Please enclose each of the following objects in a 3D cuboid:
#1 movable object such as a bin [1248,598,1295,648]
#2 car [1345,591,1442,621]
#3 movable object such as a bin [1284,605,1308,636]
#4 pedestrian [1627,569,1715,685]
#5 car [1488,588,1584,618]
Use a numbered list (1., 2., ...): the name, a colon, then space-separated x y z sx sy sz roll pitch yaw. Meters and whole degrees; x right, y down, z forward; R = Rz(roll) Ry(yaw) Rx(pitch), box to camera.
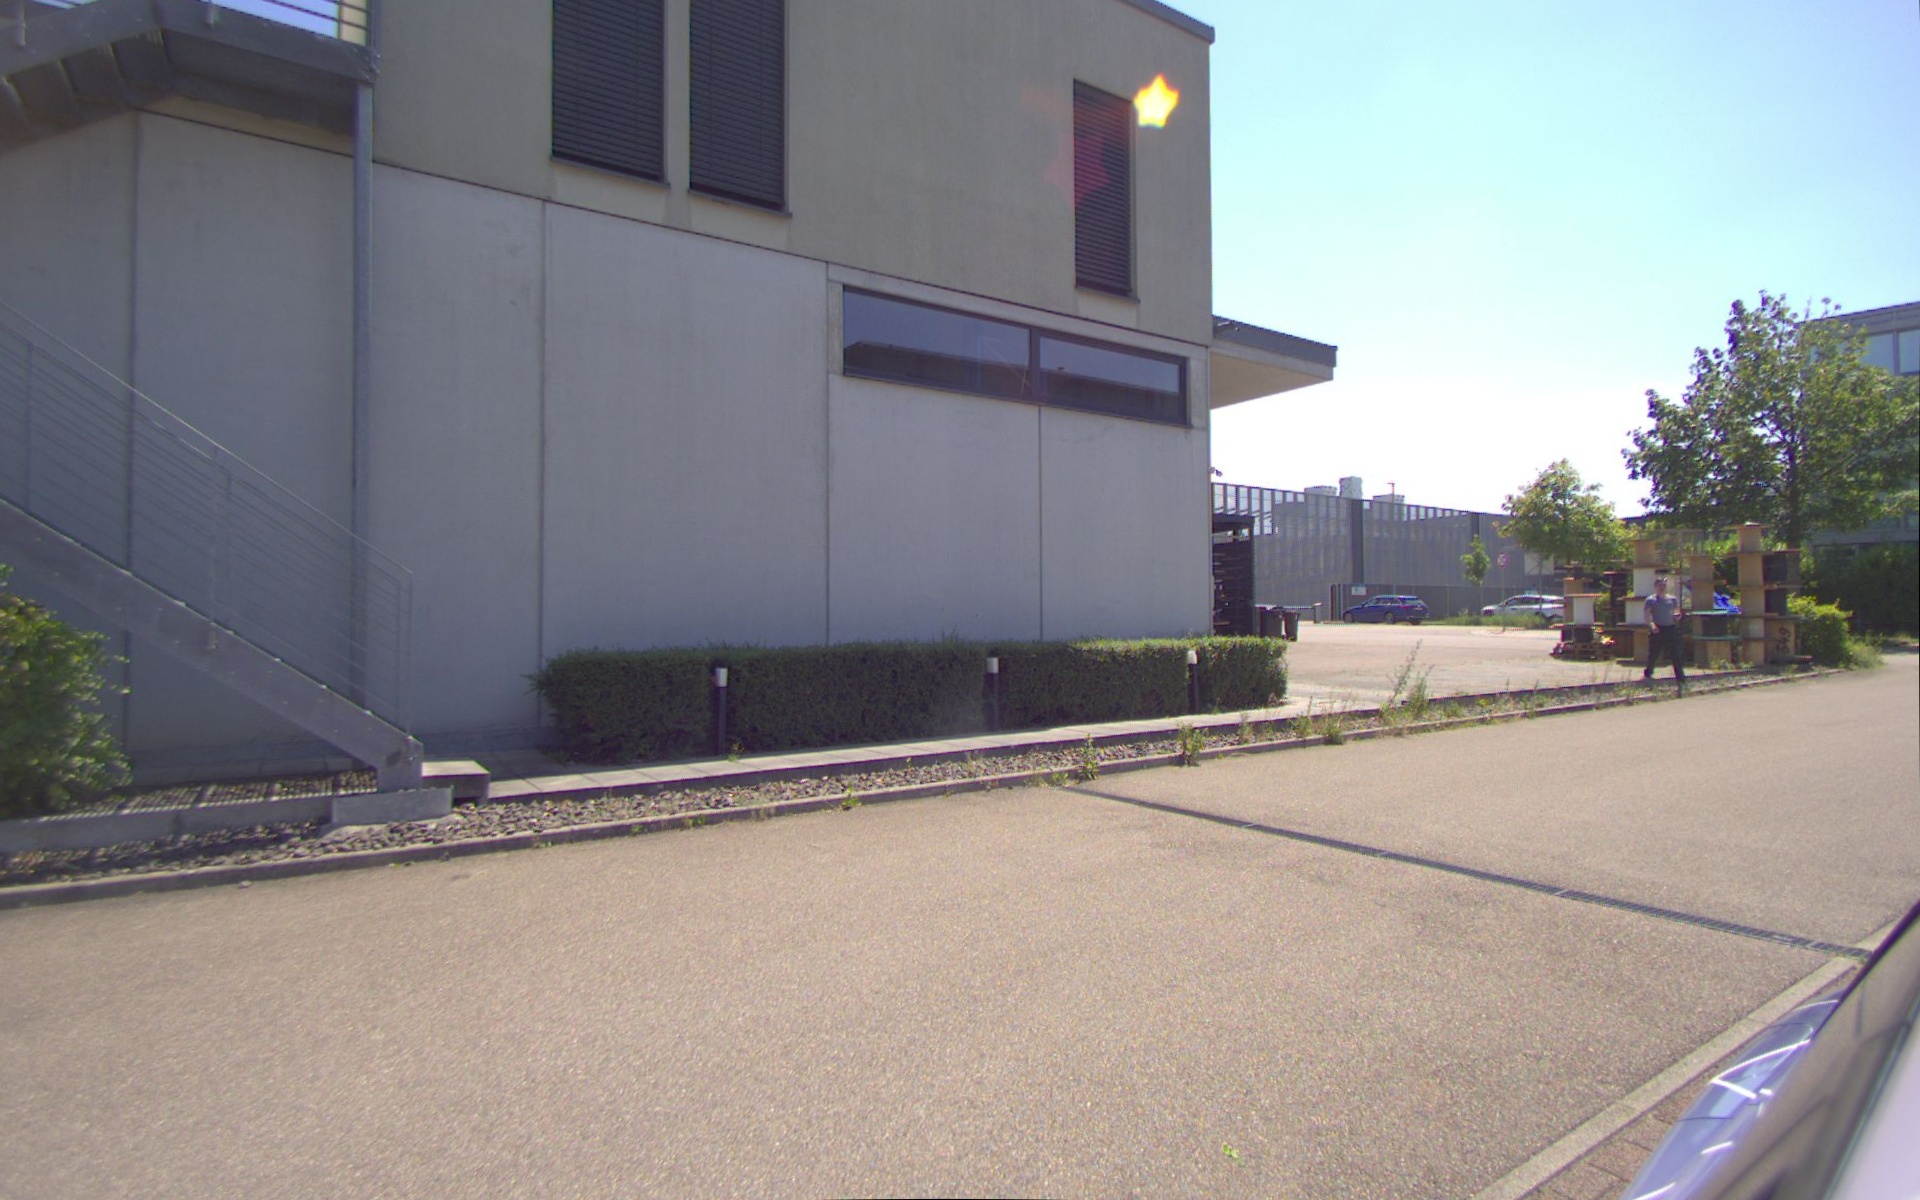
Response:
1. movable object such as a bin: 8.227 0.600 26.744 0.785 1.265 0.878 -1 0 -26
2. car: 21.615 0.298 50.642 1.820 1.427 4.454 0 0 -21
3. movable object such as a bin: 10.284 0.628 30.945 0.581 0.929 0.541 -1 0 31
4. pedestrian: 11.400 0.425 16.244 0.793 1.791 0.769 -2 0 -4
5. car: 30.565 0.146 53.872 1.743 1.494 4.423 0 0 -18
